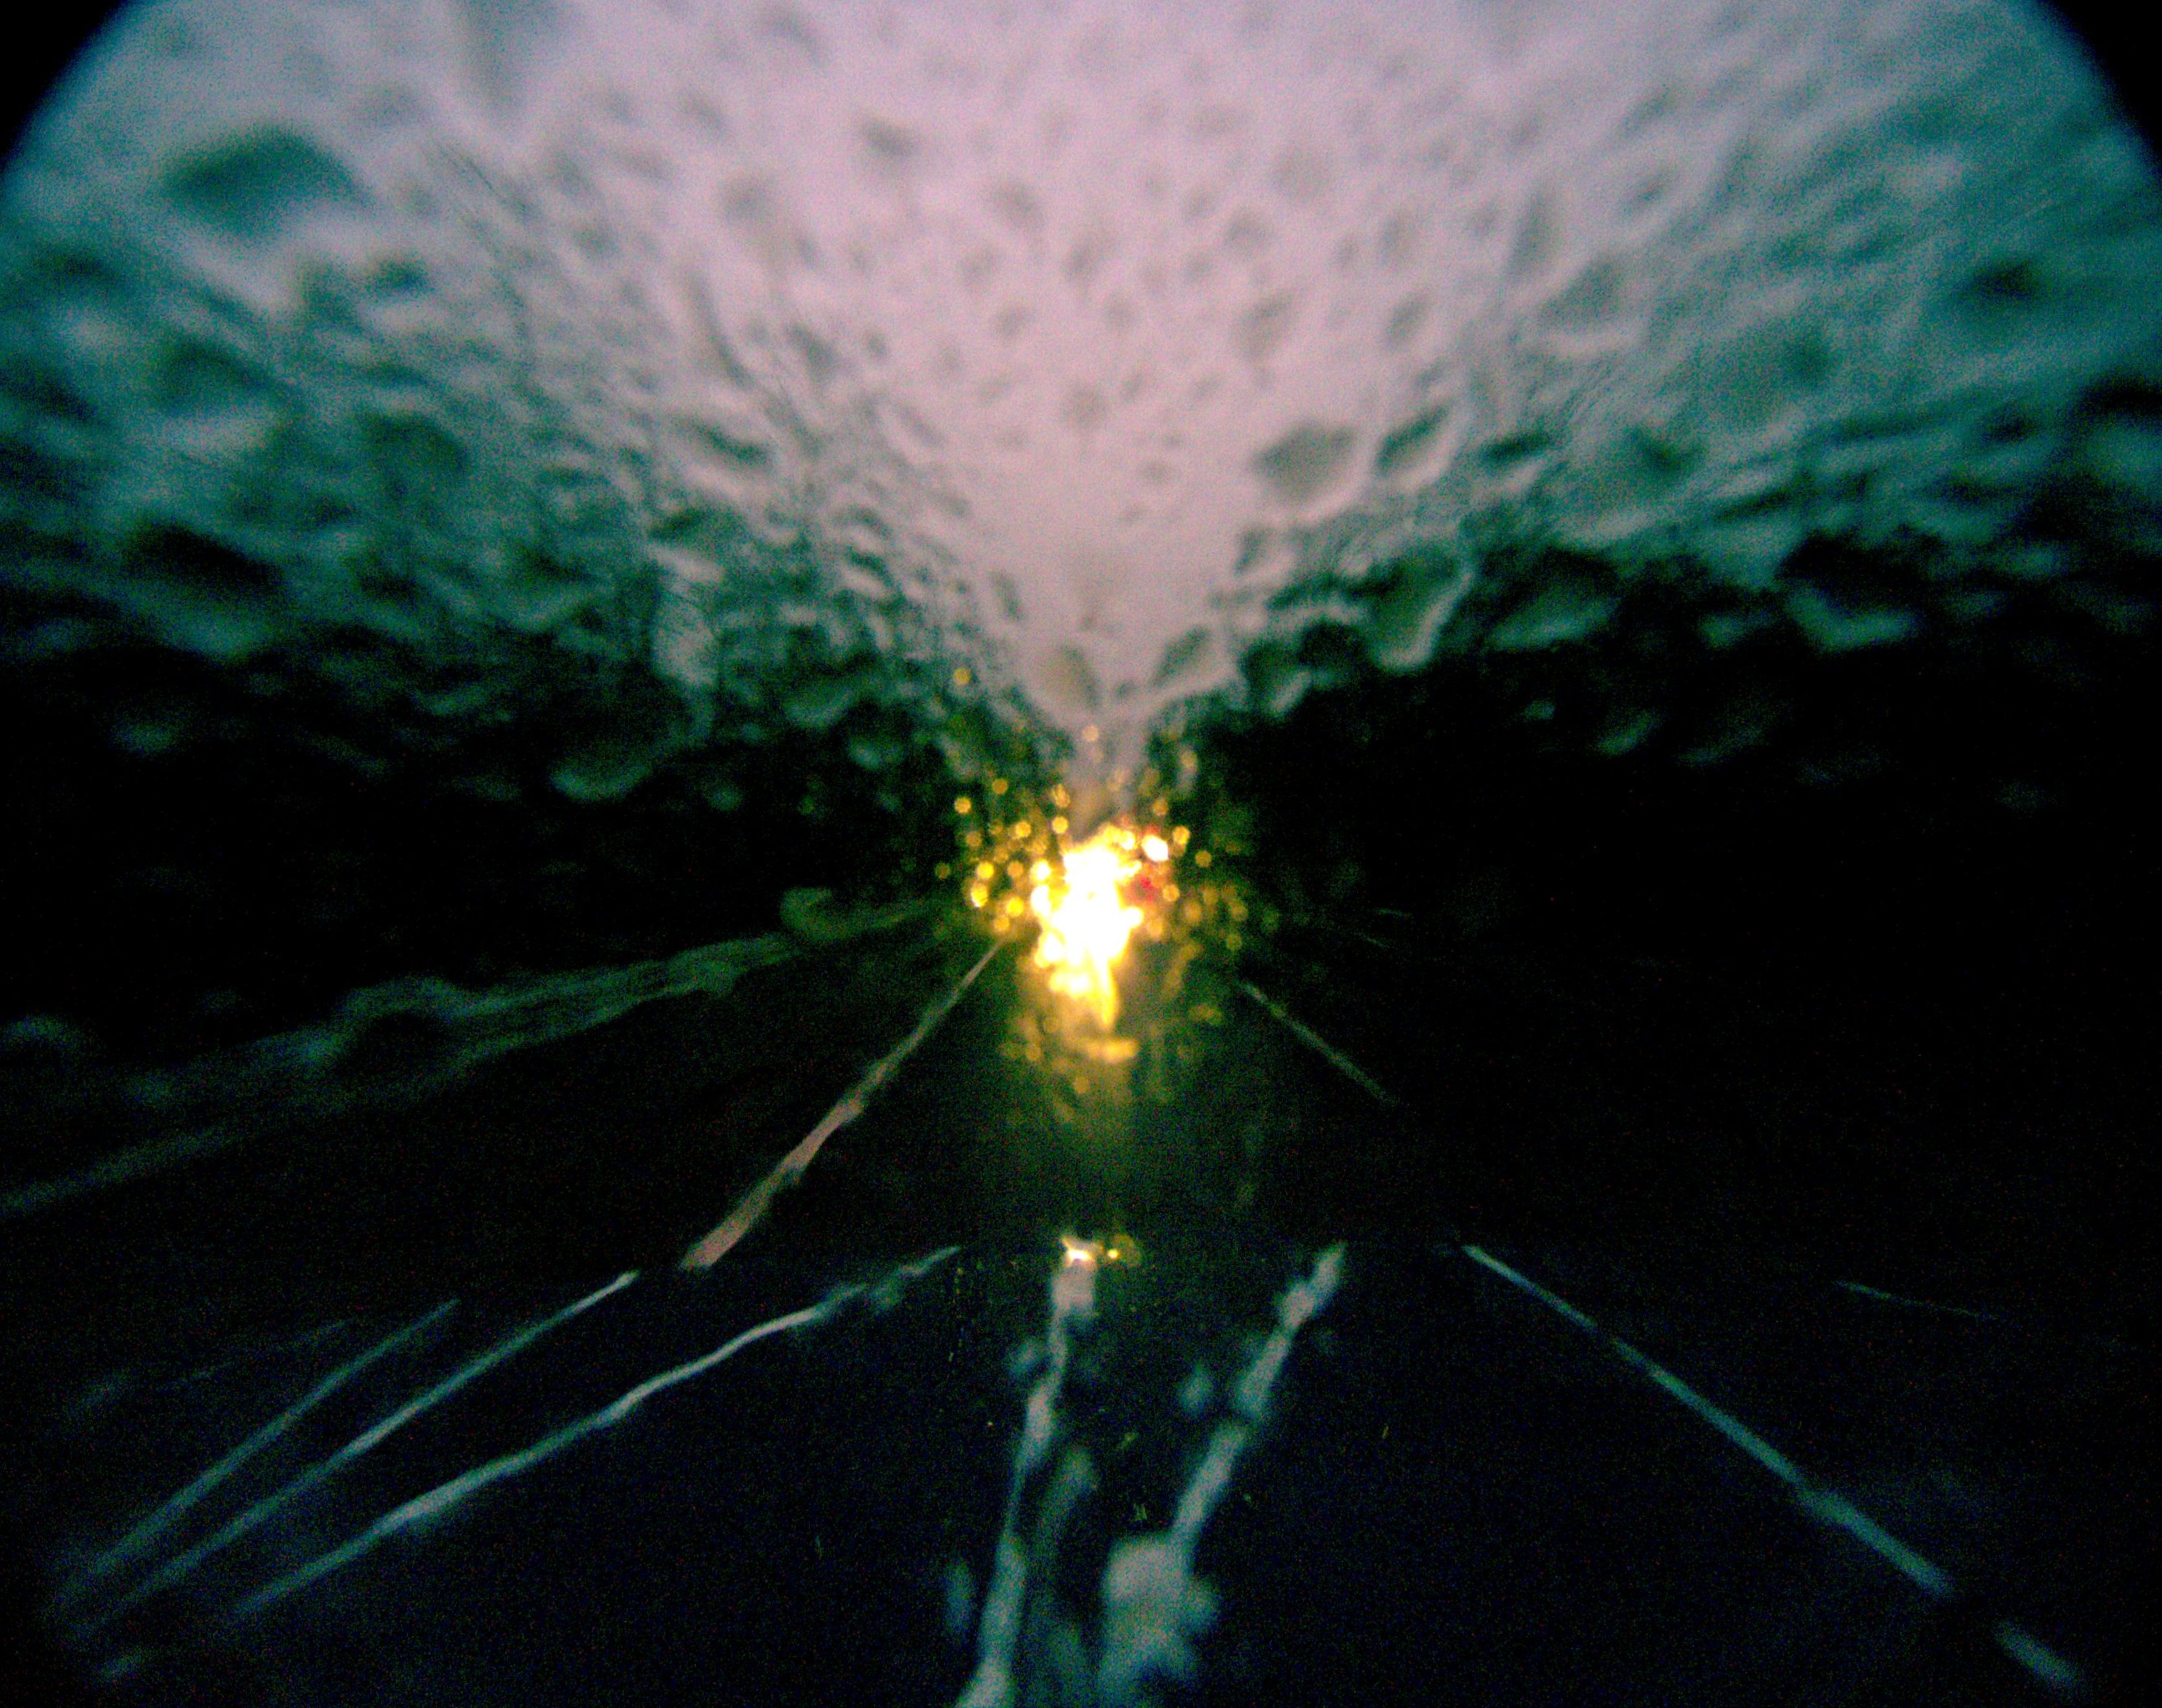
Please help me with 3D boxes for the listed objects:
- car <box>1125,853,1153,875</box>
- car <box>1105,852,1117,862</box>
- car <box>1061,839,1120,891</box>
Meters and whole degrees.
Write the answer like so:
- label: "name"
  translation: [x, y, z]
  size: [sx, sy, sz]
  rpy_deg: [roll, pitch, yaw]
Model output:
- label: "car"
  translation: [4.387, 0.707, 57.881]
  size: [1.979, 1.559, 4.928]
  rpy_deg: [0, 0, 3]
- label: "car"
  translation: [4.999, 0.504, 127.269]
  size: [1.826, 1.639, 4.750]
  rpy_deg: [1, 0, 1]
- label: "car"
  translation: [0.509, 0.466, 36.606]
  size: [2.542, 2.213, 6.169]
  rpy_deg: [-2, 1, 2]
